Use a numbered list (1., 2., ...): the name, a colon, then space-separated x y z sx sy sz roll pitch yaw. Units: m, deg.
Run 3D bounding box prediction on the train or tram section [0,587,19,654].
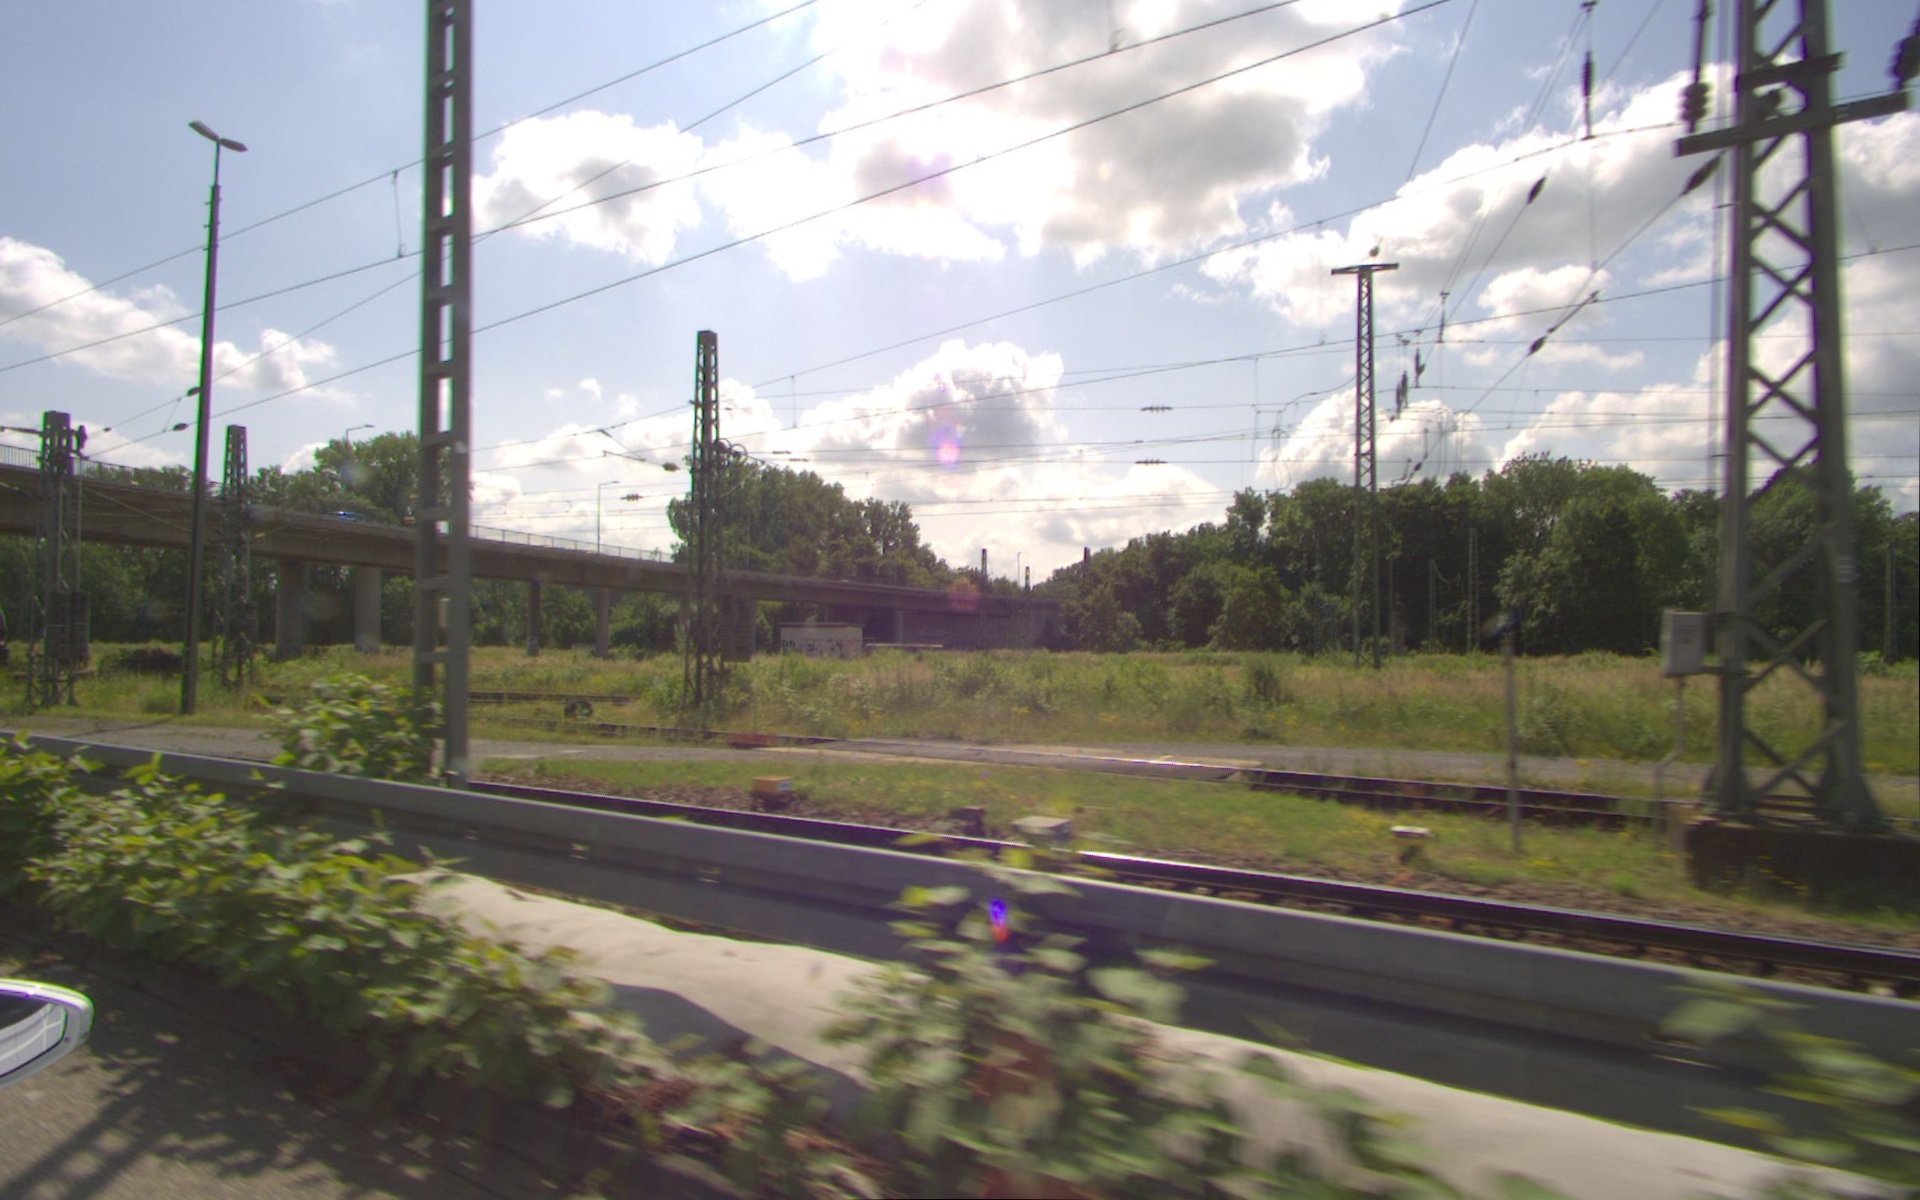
1. train or tram section: -55.107 1.165 54.714 8.434 3.553 2.889 -1 -2 29
